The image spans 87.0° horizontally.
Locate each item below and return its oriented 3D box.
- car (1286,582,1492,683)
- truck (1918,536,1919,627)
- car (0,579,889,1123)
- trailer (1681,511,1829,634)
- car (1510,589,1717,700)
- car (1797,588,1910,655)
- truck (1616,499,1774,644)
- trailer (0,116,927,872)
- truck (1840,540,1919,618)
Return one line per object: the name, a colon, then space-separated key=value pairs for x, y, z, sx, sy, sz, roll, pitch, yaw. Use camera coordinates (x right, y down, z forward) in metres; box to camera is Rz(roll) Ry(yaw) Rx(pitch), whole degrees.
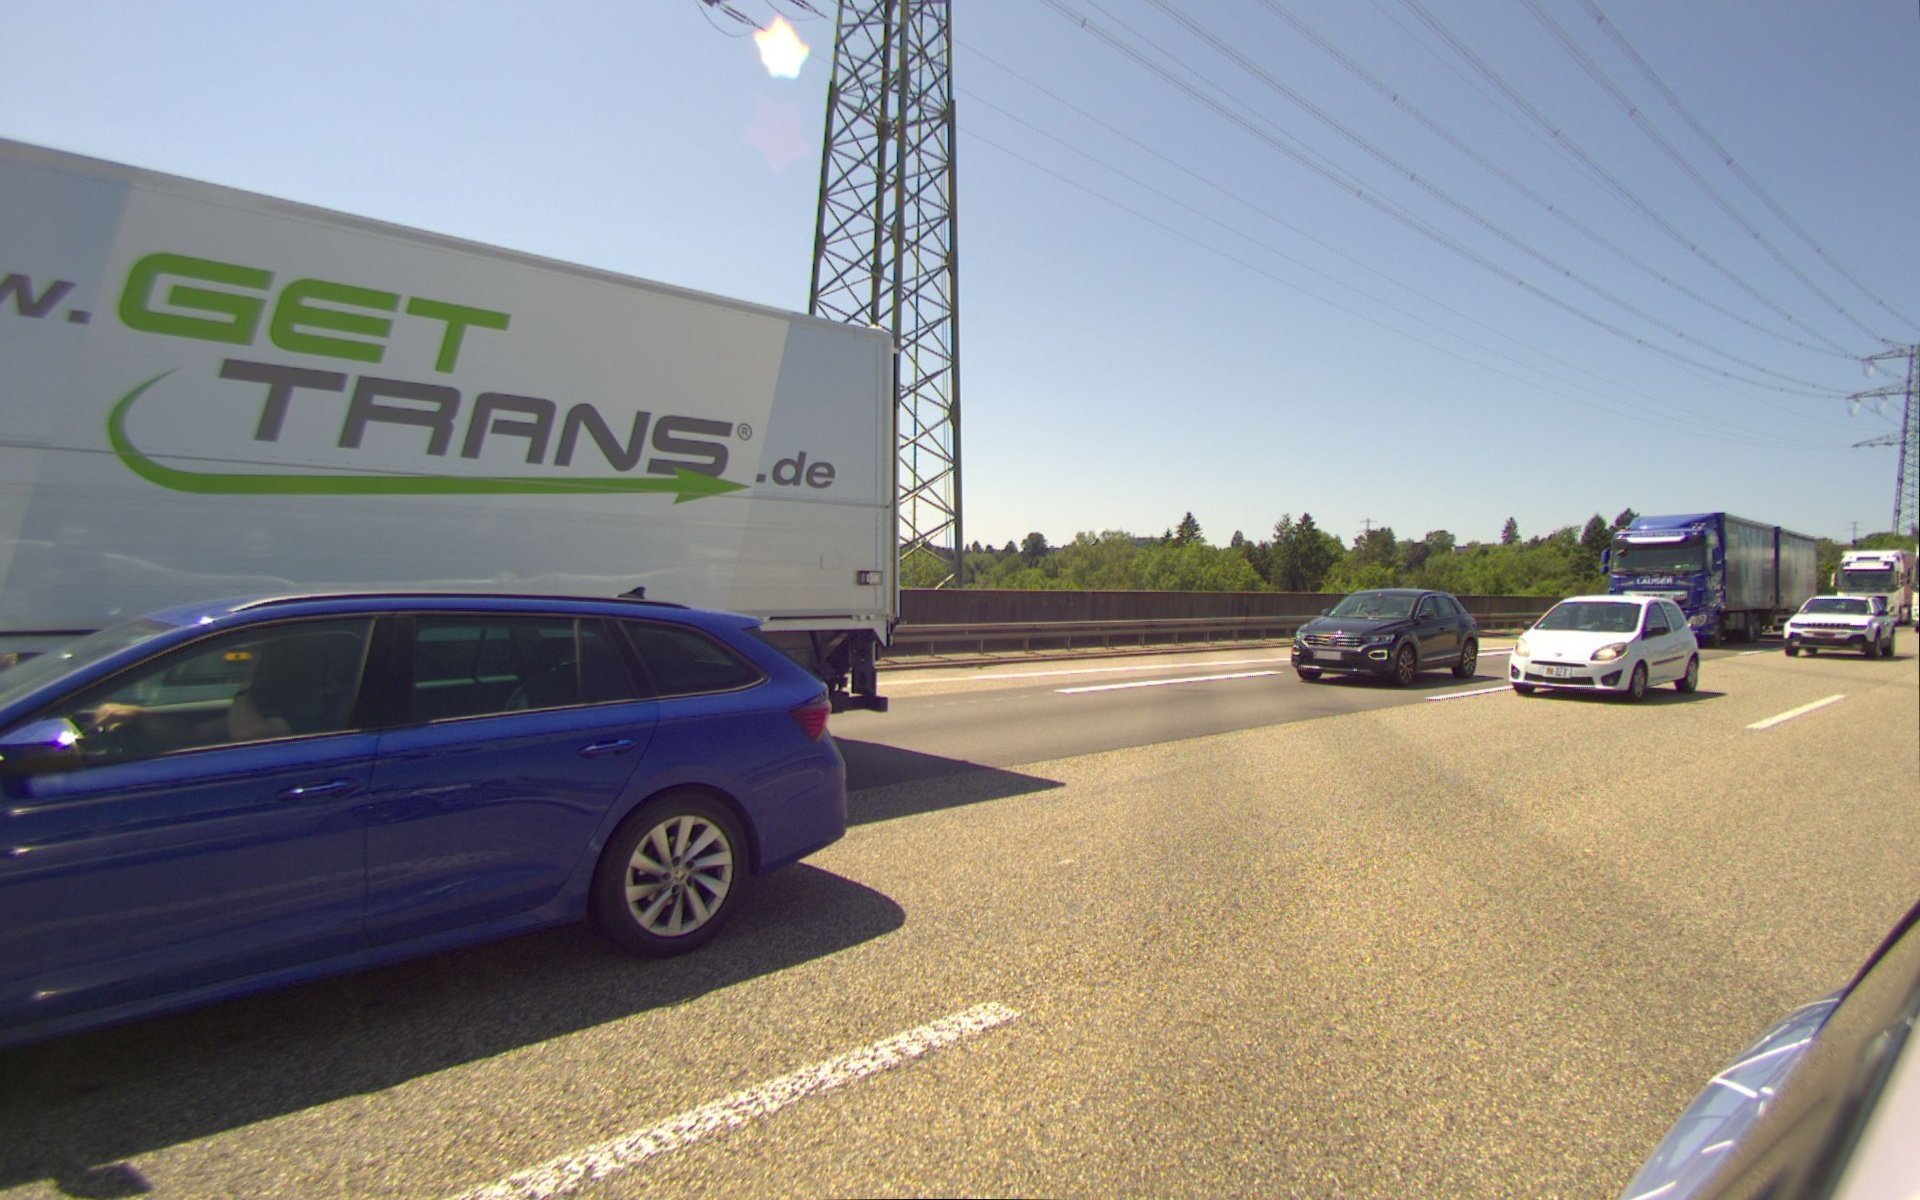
car: x=7.304 y=0.470 z=17.079 sx=3.821 sy=1.524 sz=1.708 roll=0 pitch=1 yaw=-41
truck: x=45.152 y=-0.854 z=45.184 sx=6.625 sy=3.941 sz=2.911 roll=-1 pitch=0 yaw=-42
car: x=-2.542 y=0.660 z=3.887 sx=4.422 sy=1.458 sz=1.712 roll=0 pitch=1 yaw=-42
trailer: x=29.908 y=-0.992 z=37.821 sx=10.699 sy=4.044 sz=2.540 roll=-1 pitch=0 yaw=-42
car: x=9.814 y=0.574 z=15.115 sx=3.564 sy=1.458 sz=1.583 roll=0 pitch=1 yaw=-39
car: x=22.386 y=0.483 z=25.320 sx=3.688 sy=1.554 sz=1.720 roll=0 pitch=1 yaw=-42
truck: x=23.081 y=-0.817 z=31.604 sx=7.792 sy=4.018 sz=2.514 roll=0 pitch=0 yaw=-43
trailer: x=-4.253 y=-0.521 z=7.118 sx=8.149 sy=3.640 sz=2.848 roll=0 pitch=0 yaw=-42
truck: x=50.110 y=-1.113 z=54.765 sx=6.625 sy=3.941 sz=2.911 roll=-1 pitch=0 yaw=-42
